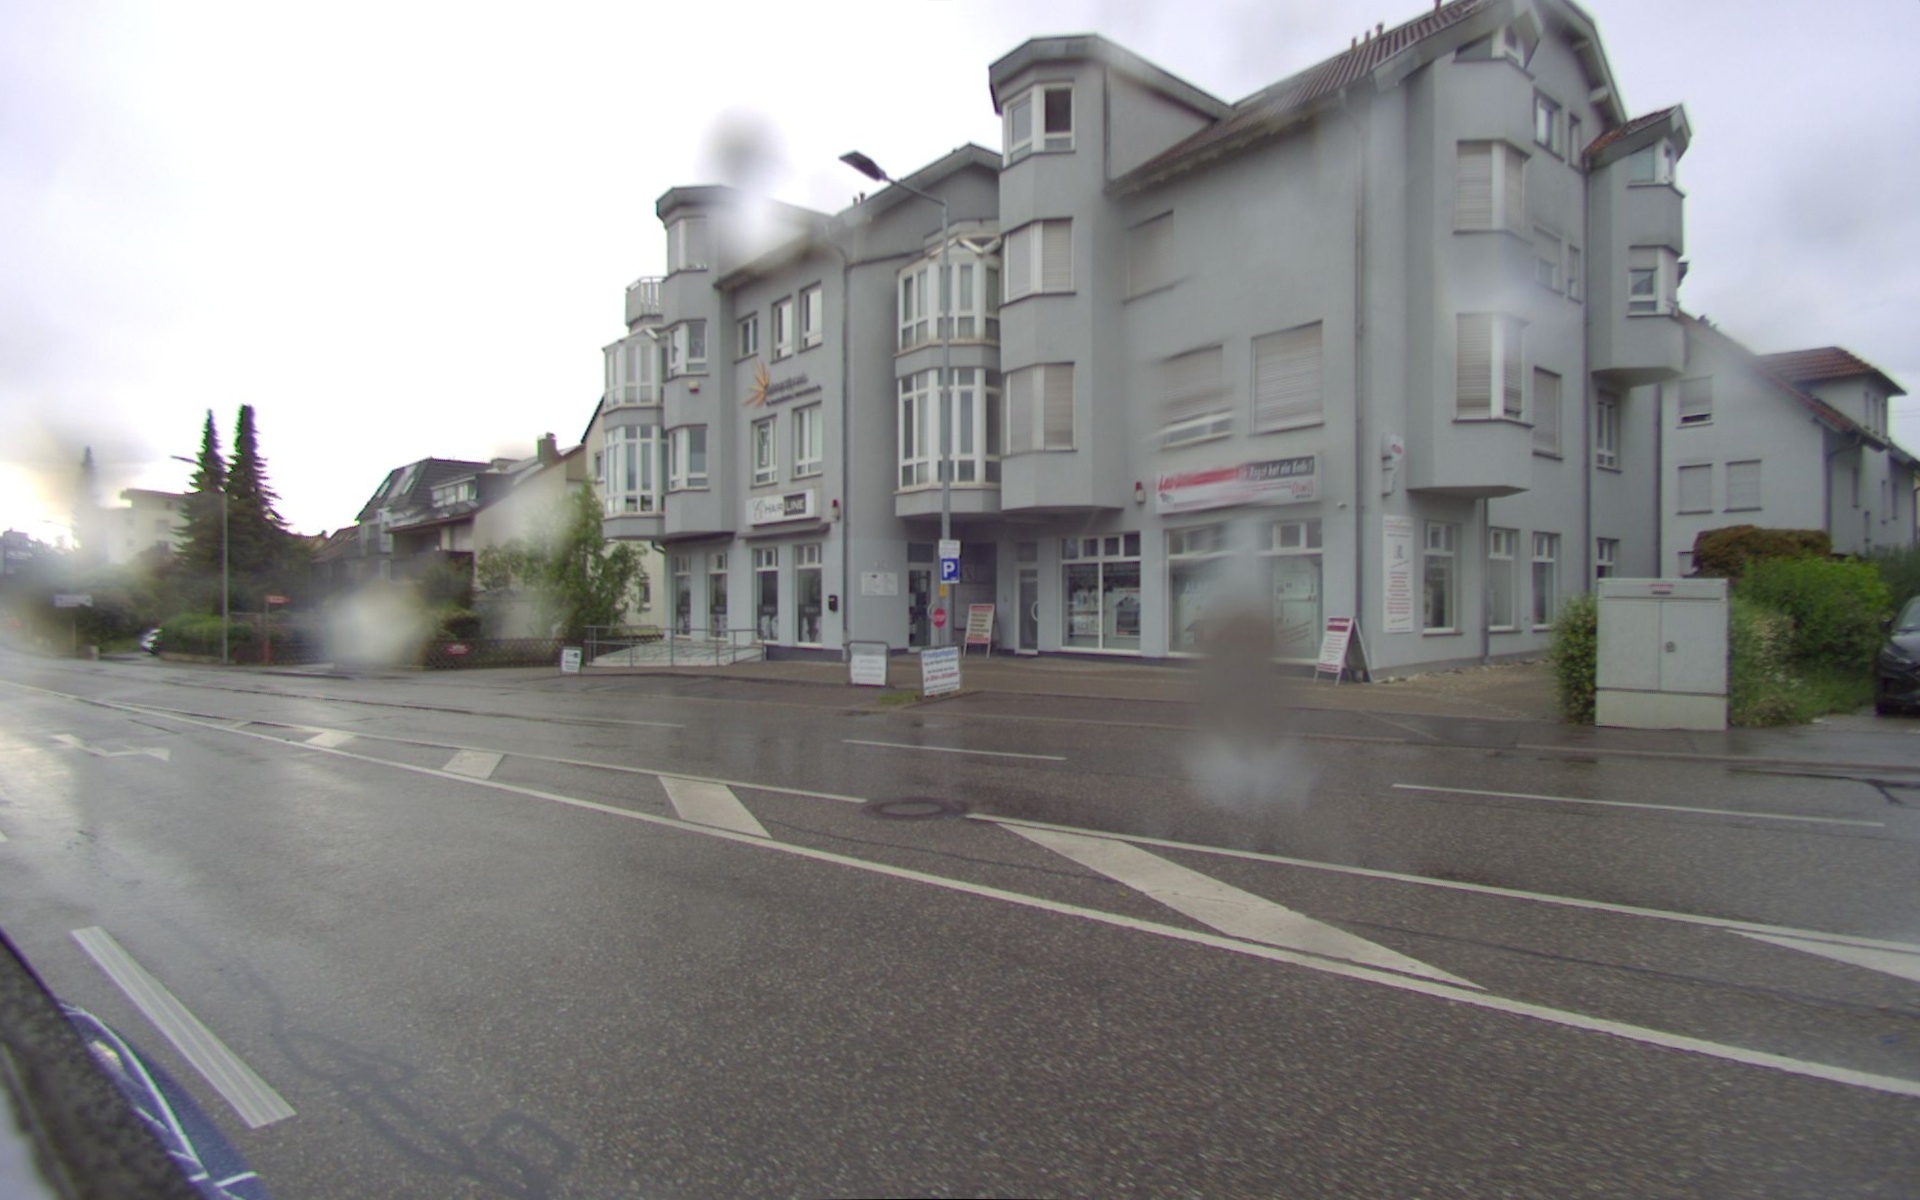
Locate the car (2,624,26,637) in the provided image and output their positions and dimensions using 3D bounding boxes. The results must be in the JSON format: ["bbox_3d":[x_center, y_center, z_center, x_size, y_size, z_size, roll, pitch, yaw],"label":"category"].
[{"bbox_3d":[-119.263,3.840,127.613,1.968,1.628,4.007,0,-2,-39],"label":"car"}]

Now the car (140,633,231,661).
[{"bbox_3d":[-45.359,2.725,59.307,4.097,1.453,1.892,-1,0,-43],"label":"car"}]

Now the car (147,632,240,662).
[{"bbox_3d":[-43.413,2.637,57.341,3.979,1.453,1.814,-1,0,-45],"label":"car"}]

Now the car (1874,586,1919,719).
[{"bbox_3d":[12.063,0.541,11.719,3.940,1.421,1.906,0,-2,-44],"label":"car"}]

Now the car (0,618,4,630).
[{"bbox_3d":[-143.948,3.614,150.852,1.824,1.777,4.128,1,-2,-39],"label":"car"}]

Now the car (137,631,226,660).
[{"bbox_3d":[-47.180,2.731,61.361,4.058,1.557,2.001,-1,0,-45],"label":"car"}]
